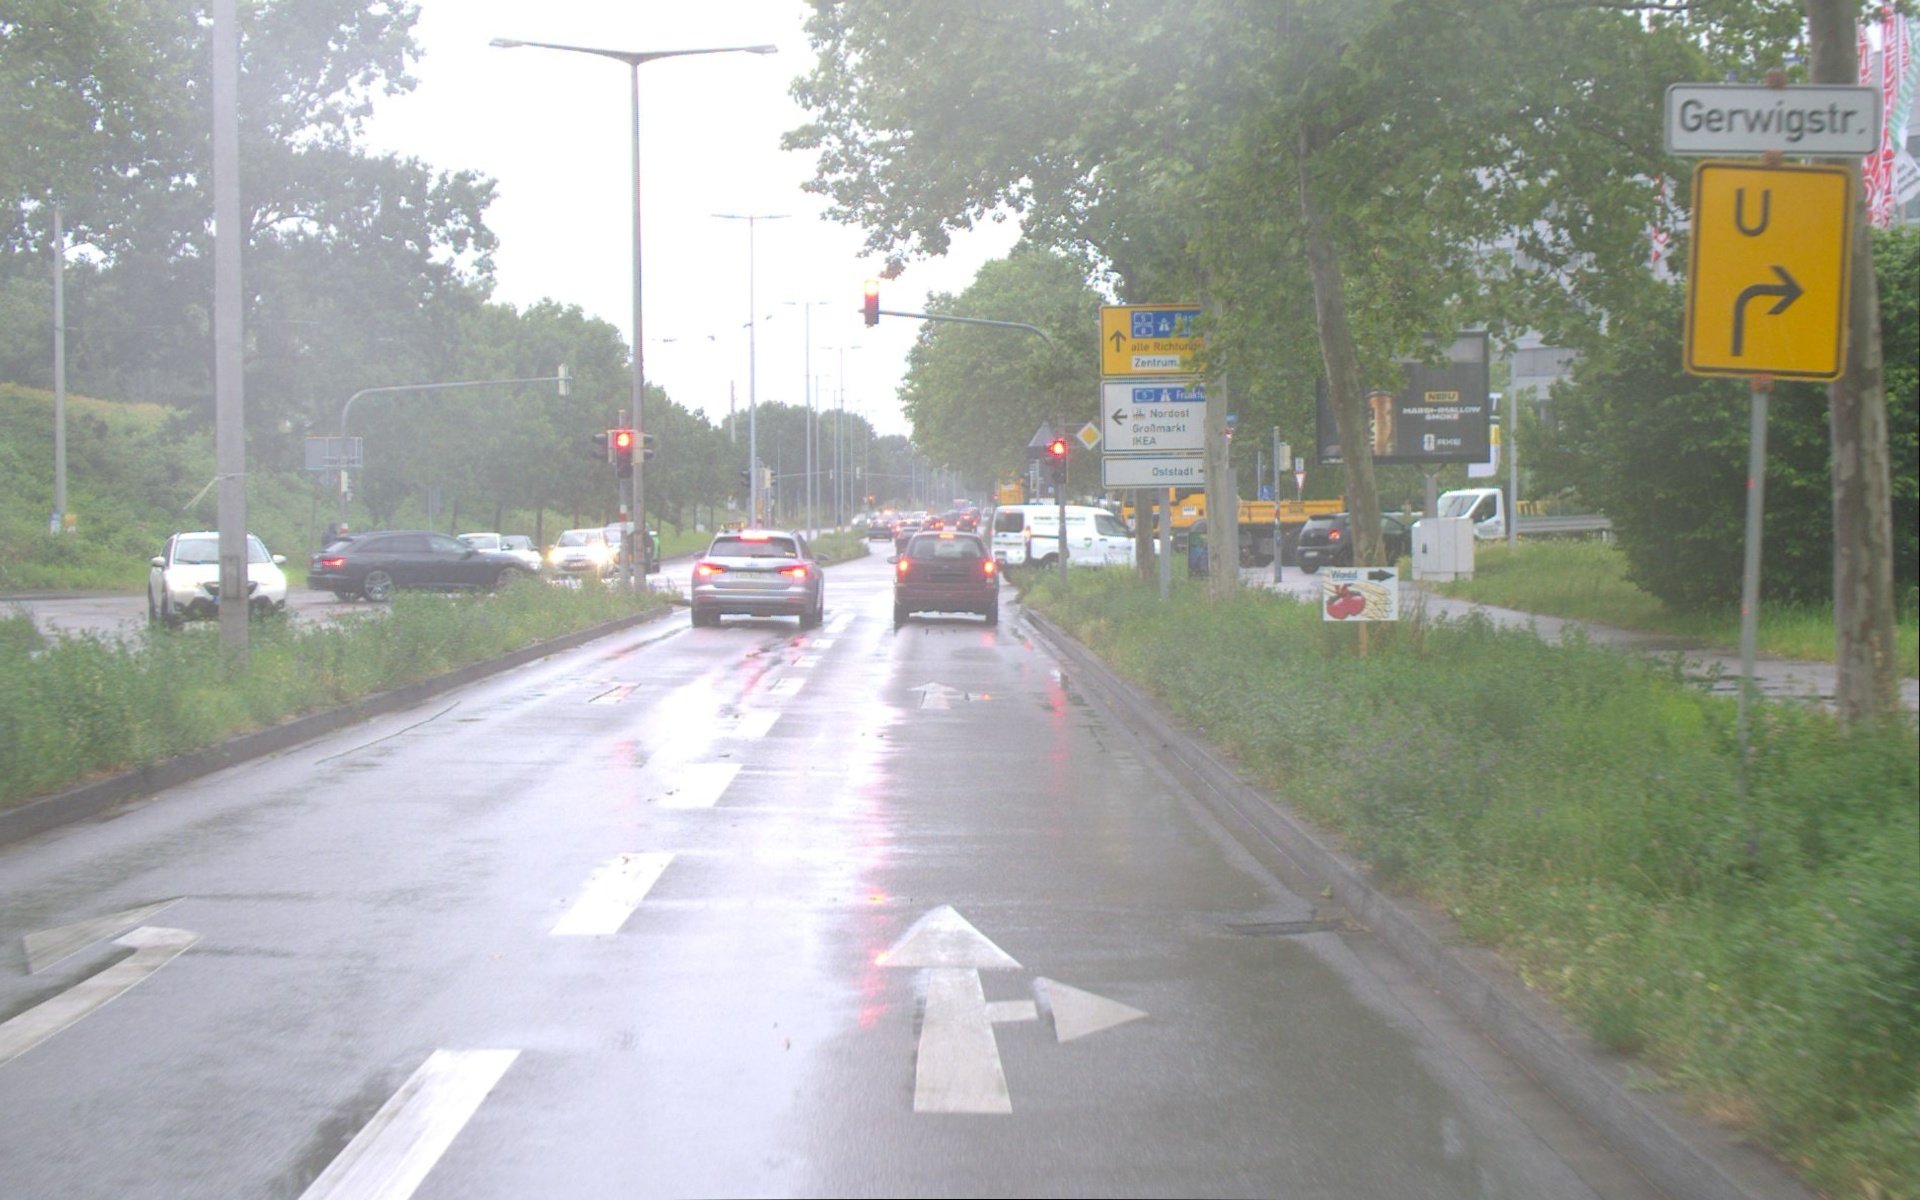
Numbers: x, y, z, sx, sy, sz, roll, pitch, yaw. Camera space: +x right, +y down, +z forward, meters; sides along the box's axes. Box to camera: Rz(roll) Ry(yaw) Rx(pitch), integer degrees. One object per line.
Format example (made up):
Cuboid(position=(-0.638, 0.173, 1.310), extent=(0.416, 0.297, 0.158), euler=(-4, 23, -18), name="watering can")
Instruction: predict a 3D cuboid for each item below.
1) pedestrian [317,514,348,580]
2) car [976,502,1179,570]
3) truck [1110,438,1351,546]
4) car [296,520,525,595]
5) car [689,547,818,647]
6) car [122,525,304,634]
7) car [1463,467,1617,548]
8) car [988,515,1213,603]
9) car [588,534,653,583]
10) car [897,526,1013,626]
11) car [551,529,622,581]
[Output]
Cuboid(position=(-17.203, -1.456, 94.232), extent=(0.533, 1.779, 0.673), euler=(1, 0, 18), name="pedestrian")
Cuboid(position=(2.725, -1.481, 79.511), extent=(4.372, 1.532, 1.802), euler=(-1, 1, -29), name="car")
Cuboid(position=(7.940, -3.148, 100.518), extent=(7.027, 3.043, 2.647), euler=(-1, 1, -37), name="truck")
Cuboid(position=(-11.467, -0.890, 71.790), extent=(4.372, 1.532, 1.802), euler=(0, 1, -29), name="car")
Cuboid(position=(-3.101, -0.080, 52.386), extent=(1.690, 1.428, 4.574), euler=(0, 1, 0), name="car")
Cuboid(position=(-11.518, -0.334, 52.815), extent=(1.856, 1.583, 4.520), euler=(-1, 1, -24), name="car")
Cuboid(position=(17.170, -2.738, 101.704), extent=(4.374, 2.183, 1.802), euler=(-4, 3, -34), name="car")
Cuboid(position=(2.823, -0.847, 68.631), extent=(4.375, 1.531, 1.801), euler=(-4, 4, -39), name="car")
Cuboid(position=(-10.996, -1.366, 111.668), extent=(1.712, 1.525, 4.000), euler=(0, 1, 0), name="car")
Cuboid(position=(-0.081, -0.423, 56.486), extent=(1.796, 1.532, 4.387), euler=(1, 1, 0), name="car")
Cuboid(position=(-11.348, -1.379, 104.566), extent=(1.712, 1.525, 4.000), euler=(0, 1, 0), name="car")
